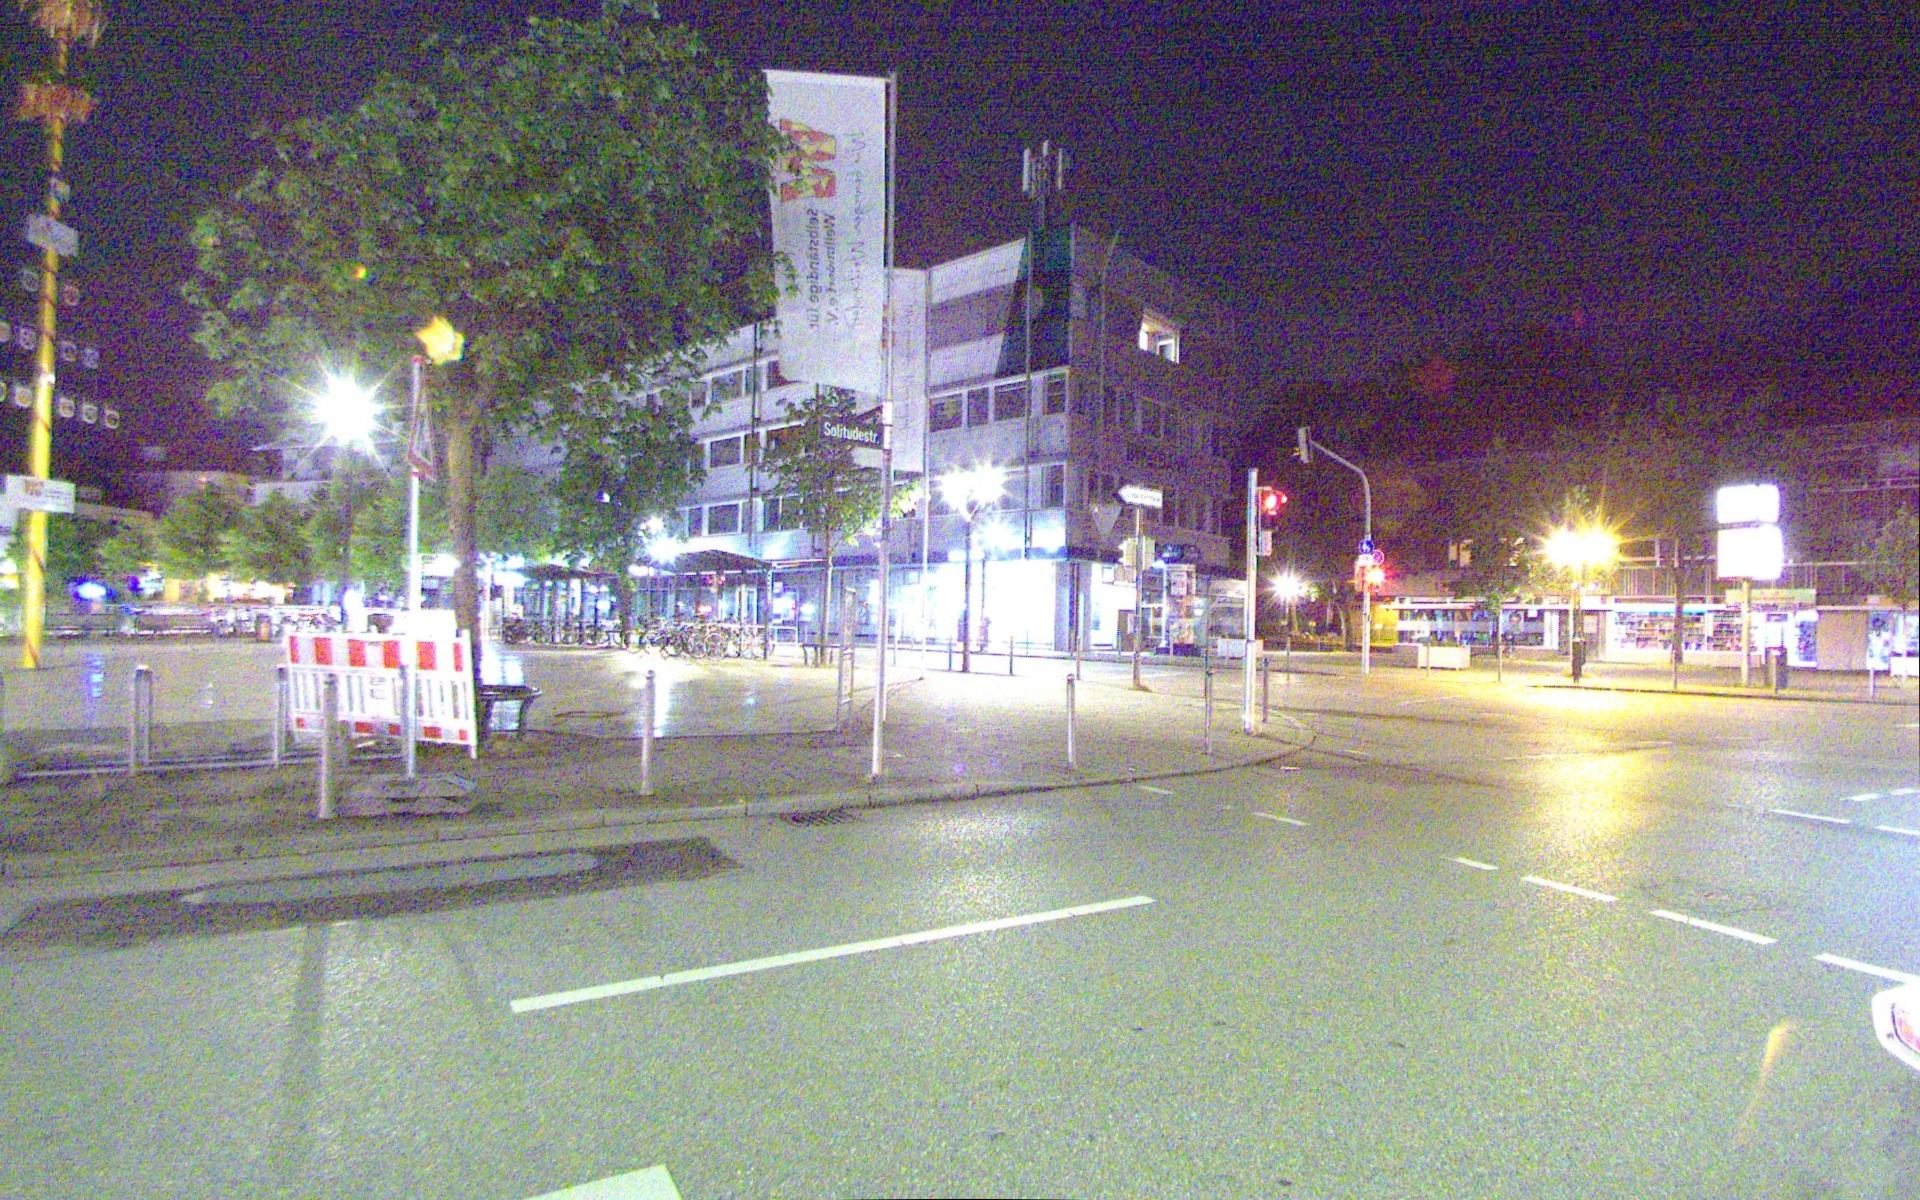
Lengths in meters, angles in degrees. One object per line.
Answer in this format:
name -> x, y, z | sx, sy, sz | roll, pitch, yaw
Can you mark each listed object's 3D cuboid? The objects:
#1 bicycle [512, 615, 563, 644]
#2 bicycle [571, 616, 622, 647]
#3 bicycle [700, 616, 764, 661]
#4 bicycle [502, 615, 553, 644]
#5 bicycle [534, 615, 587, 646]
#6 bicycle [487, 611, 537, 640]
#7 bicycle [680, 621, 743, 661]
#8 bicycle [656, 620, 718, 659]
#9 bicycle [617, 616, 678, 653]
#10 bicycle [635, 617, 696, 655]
bicycle -> -14.181, 0.992, 33.736 | 0.473, 0.970, 1.525 | 2, 0, 44
bicycle -> -11.967, 1.041, 33.111 | 0.473, 0.970, 1.525 | 2, 0, 44
bicycle -> -5.647, 0.951, 24.923 | 0.440, 1.068, 1.525 | 2, 0, 43
bicycle -> -14.785, 1.001, 34.361 | 0.473, 0.970, 1.525 | 2, 0, 44
bicycle -> -13.153, 1.005, 33.098 | 0.473, 0.970, 1.525 | 2, 0, 44
bicycle -> -15.548, 0.881, 34.881 | 0.473, 0.970, 1.525 | 2, 0, 44
bicycle -> -6.320, 1.032, 25.588 | 0.440, 0.970, 1.525 | 2, 0, 43
bicycle -> -7.099, 1.010, 26.135 | 0.473, 0.970, 1.525 | 2, 0, 44
bicycle -> -8.527, 0.945, 27.421 | 0.473, 0.970, 1.525 | 2, 0, 44
bicycle -> -7.847, 0.963, 26.821 | 0.473, 0.970, 1.525 | 2, 0, 44
